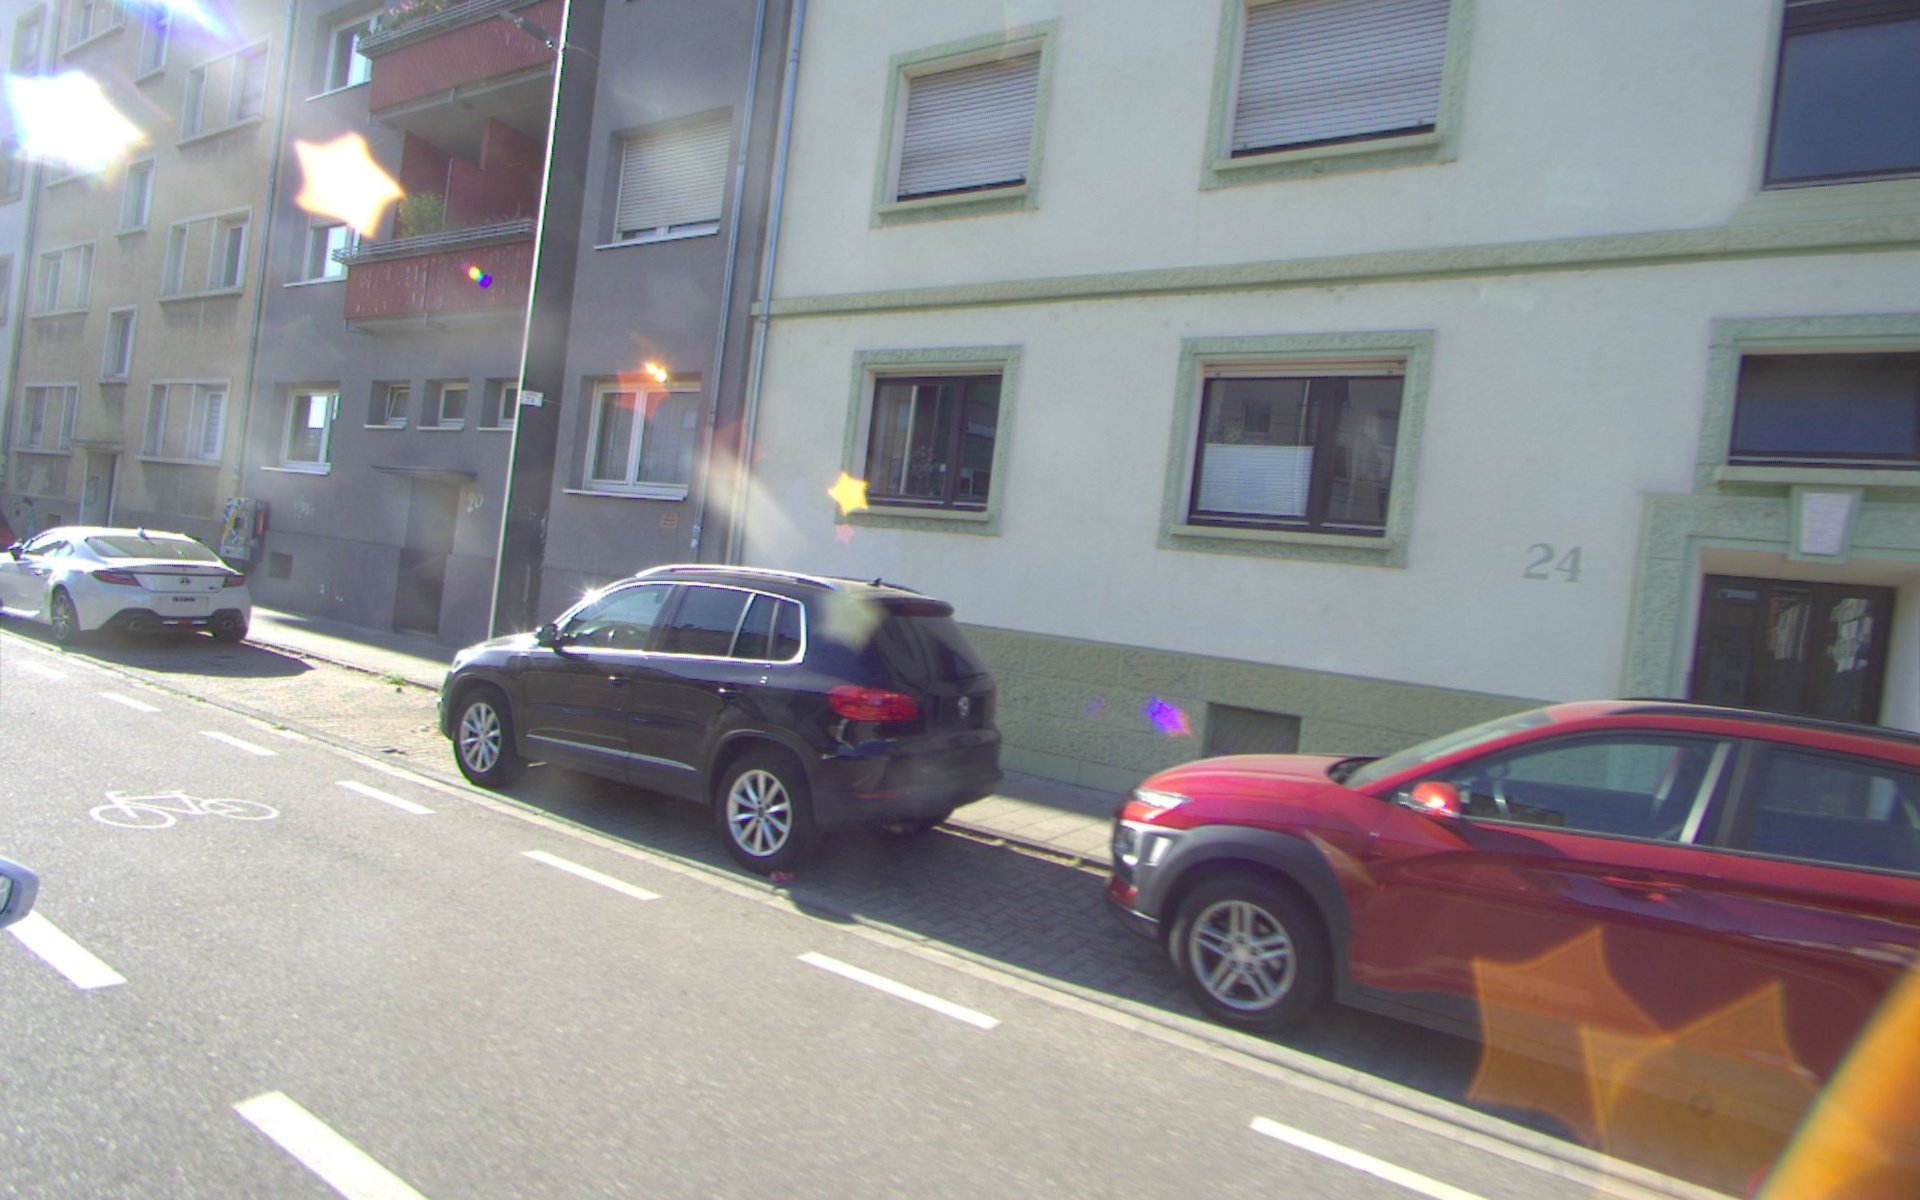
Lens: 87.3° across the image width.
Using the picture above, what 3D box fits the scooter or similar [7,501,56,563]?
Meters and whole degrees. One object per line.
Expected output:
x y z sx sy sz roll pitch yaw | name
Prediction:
-20.613 -1.523 22.336 1.317 1.256 0.458 7 4 32 | scooter or similar

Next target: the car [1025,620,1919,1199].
2.541 1.129 4.258 4.119 1.536 1.637 7 0 32 | car

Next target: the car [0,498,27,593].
-17.020 -1.062 16.455 3.727 1.473 1.636 7 2 32 | car

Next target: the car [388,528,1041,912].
-1.808 0.570 6.894 4.299 1.669 1.637 7 2 30 | car

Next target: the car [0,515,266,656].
-10.632 -0.246 12.500 4.231 1.293 1.702 7 3 31 | car
